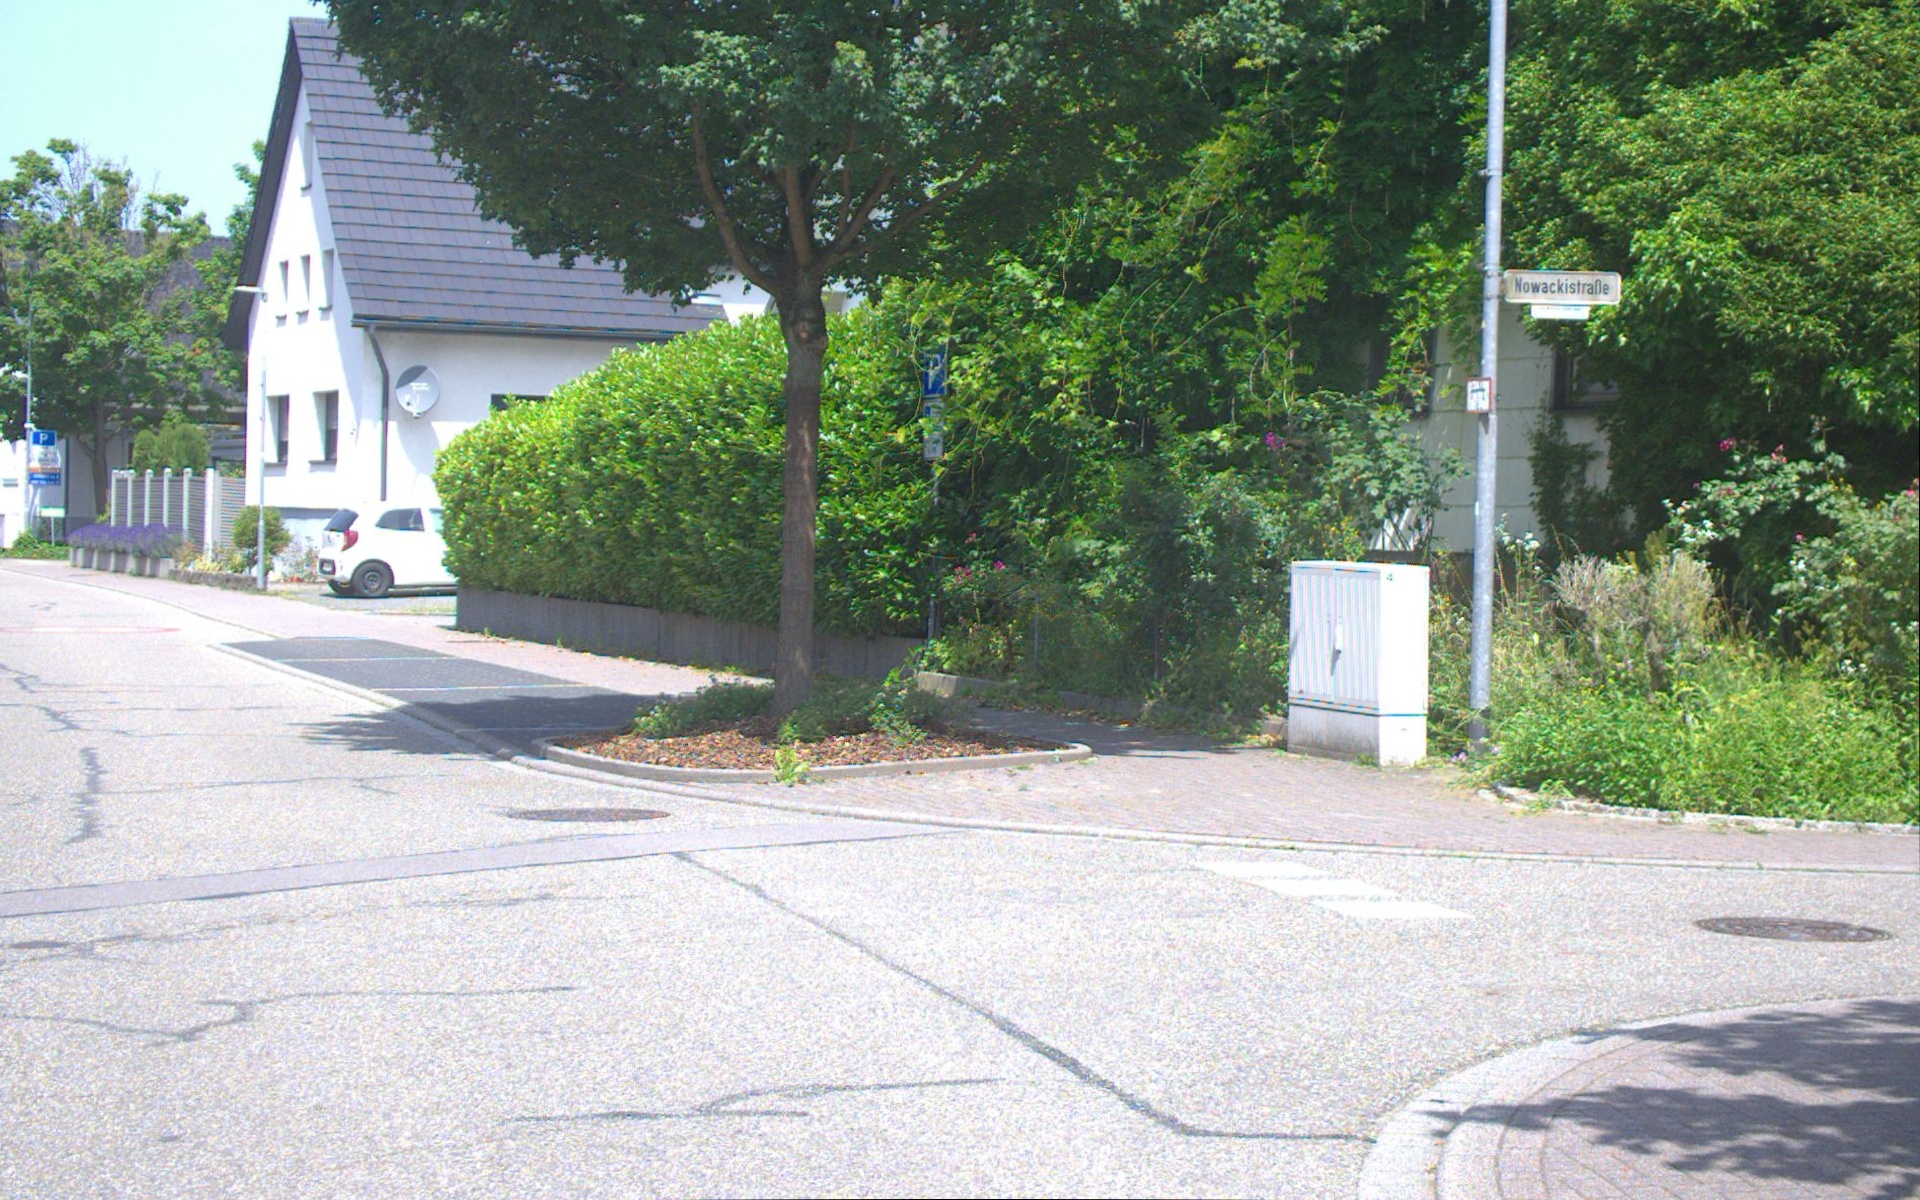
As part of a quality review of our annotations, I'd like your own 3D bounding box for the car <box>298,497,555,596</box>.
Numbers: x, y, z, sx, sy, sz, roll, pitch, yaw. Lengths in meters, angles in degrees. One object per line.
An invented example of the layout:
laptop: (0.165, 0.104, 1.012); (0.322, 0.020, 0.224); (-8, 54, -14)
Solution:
car: (-8.449, -0.876, 54.477); (3.656, 1.469, 1.766); (-1, 3, -26)
